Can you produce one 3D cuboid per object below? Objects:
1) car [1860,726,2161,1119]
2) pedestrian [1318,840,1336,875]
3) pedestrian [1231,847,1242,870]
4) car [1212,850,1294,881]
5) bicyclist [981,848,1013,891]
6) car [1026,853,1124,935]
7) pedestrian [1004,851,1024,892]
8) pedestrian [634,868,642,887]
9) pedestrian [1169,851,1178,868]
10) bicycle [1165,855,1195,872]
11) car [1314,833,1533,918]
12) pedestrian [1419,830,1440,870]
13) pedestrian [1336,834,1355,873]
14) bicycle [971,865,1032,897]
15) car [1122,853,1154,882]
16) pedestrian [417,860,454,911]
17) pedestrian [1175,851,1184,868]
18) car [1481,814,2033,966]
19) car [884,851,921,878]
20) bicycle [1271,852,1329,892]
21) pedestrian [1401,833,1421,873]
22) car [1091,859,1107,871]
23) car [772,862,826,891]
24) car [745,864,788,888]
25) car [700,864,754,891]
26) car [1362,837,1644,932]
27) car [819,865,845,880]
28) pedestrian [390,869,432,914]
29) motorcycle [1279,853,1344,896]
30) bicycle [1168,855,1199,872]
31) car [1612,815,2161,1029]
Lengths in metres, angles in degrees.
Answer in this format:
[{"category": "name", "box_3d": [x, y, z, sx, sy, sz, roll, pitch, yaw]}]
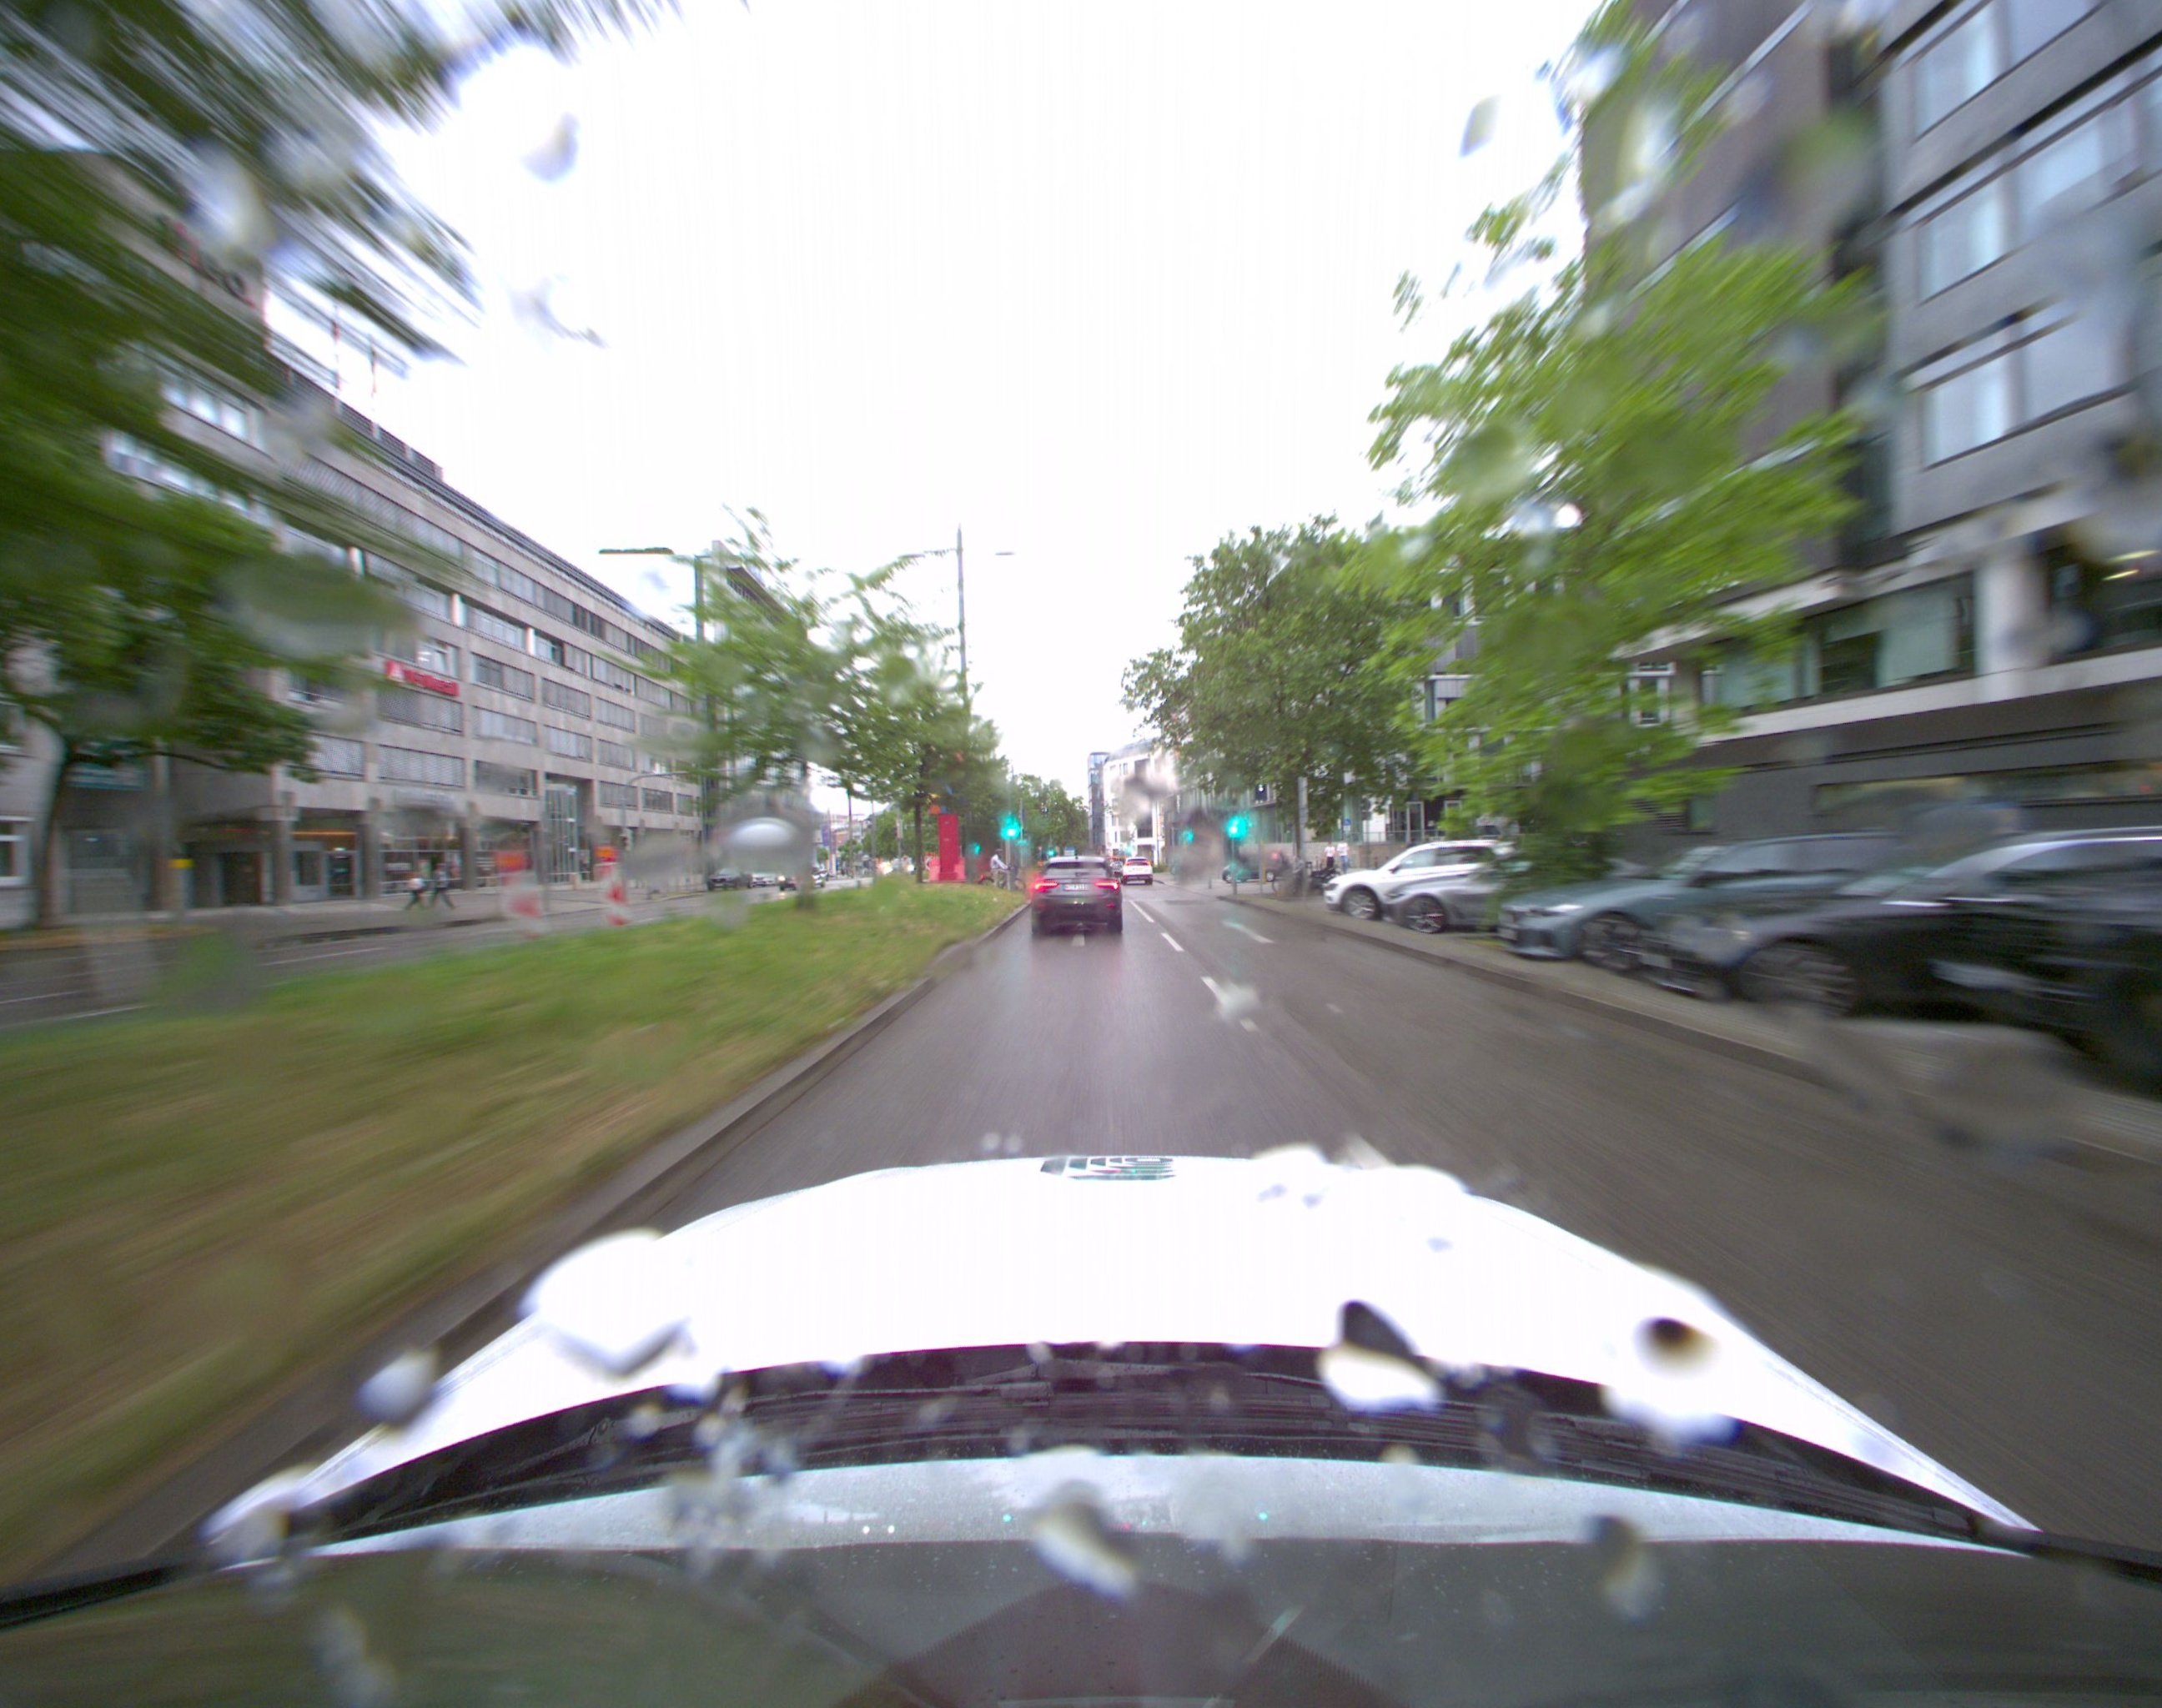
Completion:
[{"category": "car", "box_3d": [7.554, 0.250, 4.066, 4.890, 1.978, 1.941, -3, 0, 28]}, {"category": "pedestrian", "box_3d": [13.546, 0.218, 44.836, 0.860, 1.904, 0.888, -1, -1, 14]}, {"category": "pedestrian", "box_3d": [14.359, 0.408, 75.112, 0.929, 2.115, 1.079, -1, -1, 14]}, {"category": "car", "box_3d": [8.858, 0.603, 42.034, 3.815, 1.568, 1.677, -1, -1, 44]}, {"category": "bicyclist", "box_3d": [-3.243, 0.600, 31.505, 1.100, 1.622, 0.751, 1, -1, 1]}, {"category": "car", "box_3d": [-0.047, 0.767, 17.611, 1.842, 1.523, 4.040, -1, 0, 2]}, {"category": "pedestrian", "box_3d": [-2.980, 0.769, 36.103, 0.657, 1.793, 0.753, -1, -1, 15]}, {"category": "pedestrian", "box_3d": [-33.320, 1.768, 61.312, 0.350, 1.348, 0.381, -2, 0, -3]}, {"category": "pedestrian", "box_3d": [11.117, 0.630, 98.058, 0.853, 2.014, 0.975, 0, -1, -3]}, {"category": "bicycle", "box_3d": [7.966, 0.737, 65.525, 2.334, 1.312, 0.708, -1, 0, -5]}, {"category": "car", "box_3d": [7.476, 0.486, 17.843, 4.177, 1.669, 1.850, -3, 0, 29]}, {"category": "pedestrian", "box_3d": [16.167, -0.172, 37.770, 0.660, 1.783, 0.923, -6, -2, 17]}, {"category": "pedestrian", "box_3d": [14.485, -0.005, 44.634, 0.929, 2.115, 1.079, -1, -1, 14]}, {"category": "bicycle", "box_3d": [-3.047, 1.026, 31.490, 2.246, 1.162, 0.751, 1, -1, 1]}, {"category": "car", "box_3d": [3.424, 0.802, 49.784, 1.842, 1.669, 4.041, -1, 0, 3]}, {"category": "pedestrian", "box_3d": [-24.980, 1.208, 31.519, 0.838, 1.918, 0.678, -2, 0, 5]}, {"category": "pedestrian", "box_3d": [11.738, 0.607, 96.885, 0.853, 2.014, 0.975, 0, -1, -3]}, {"category": "car", "box_3d": [7.635, 0.445, 9.834, 4.738, 1.534, 1.877, -3, 0, 16]}, {"category": "car", "box_3d": [-12.966, 0.730, 59.396, 1.990, 1.826, 3.994, -3, 0, -5]}, {"category": "bicycle", "box_3d": [7.943, 0.654, 29.556, 1.970, 1.415, 0.728, -1, -1, 10]}, {"category": "pedestrian", "box_3d": [15.545, -0.047, 38.381, 0.635, 1.783, 0.774, -5, -2, 17]}, {"category": "car", "box_3d": [2.365, 1.394, 105.622, 1.842, 1.523, 4.041, -1, 0, 3]}, {"category": "car", "box_3d": [-15.148, 1.191, 43.959, 1.803, 1.310, 3.991, -3, 0, -6]}, {"category": "car", "box_3d": [-22.657, 1.560, 58.783, 1.806, 1.548, 3.992, -3, -1, -6]}, {"category": "car", "box_3d": [-22.151, 1.443, 51.175, 1.872, 1.536, 4.069, -3, -1, -6]}, {"category": "car", "box_3d": [7.541, 0.552, 14.770, 4.252, 1.488, 1.855, -3, 0, 31]}, {"category": "car", "box_3d": [-26.817, 1.985, 87.799, 1.806, 1.548, 3.992, -3, -1, -6]}, {"category": "pedestrian", "box_3d": [-25.179, 1.396, 30.601, 0.989, 1.645, 0.678, -2, 0, 5]}, {"category": "motorcycle", "box_3d": [7.726, 0.683, 27.367, 2.015, 1.415, 0.728, -1, -1, 10]}, {"category": "bicycle", "box_3d": [8.016, 0.749, 63.640, 2.334, 1.312, 0.708, -1, 0, -5]}, {"category": "car", "box_3d": [7.379, 0.504, 6.969, 4.511, 1.507, 1.880, -3, 0, 26]}]
